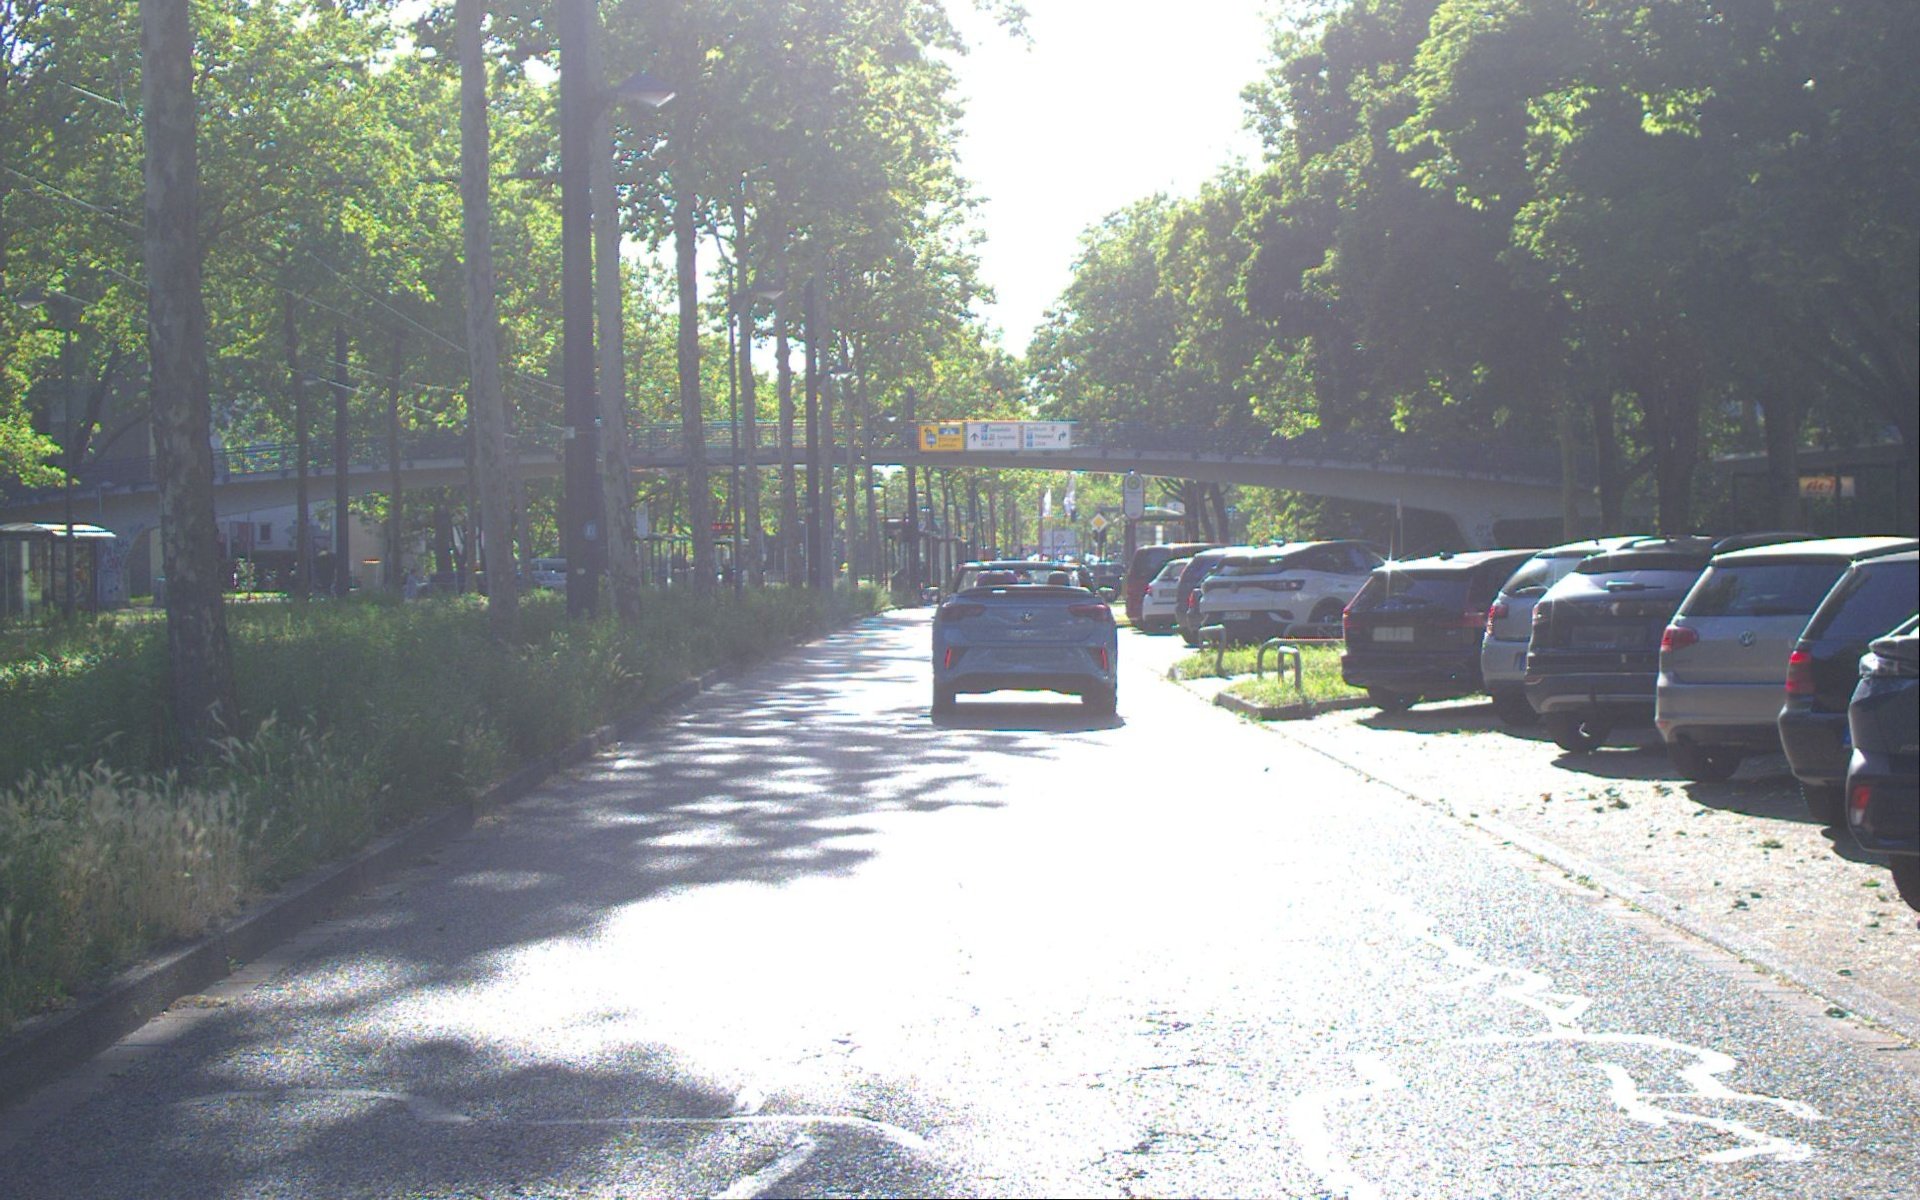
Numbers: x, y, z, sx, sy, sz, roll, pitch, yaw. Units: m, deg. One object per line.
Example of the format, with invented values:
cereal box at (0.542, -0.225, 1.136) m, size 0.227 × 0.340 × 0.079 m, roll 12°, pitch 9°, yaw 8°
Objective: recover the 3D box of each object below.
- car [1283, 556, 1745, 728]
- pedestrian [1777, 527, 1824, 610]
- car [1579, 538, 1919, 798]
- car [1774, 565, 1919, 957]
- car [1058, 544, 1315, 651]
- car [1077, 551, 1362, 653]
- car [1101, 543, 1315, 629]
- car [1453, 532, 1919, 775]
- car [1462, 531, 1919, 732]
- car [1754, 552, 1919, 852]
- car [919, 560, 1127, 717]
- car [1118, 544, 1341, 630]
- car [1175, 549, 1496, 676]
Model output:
car at (5.245, 0.342, 32.113) m, size 1.978 × 1.454 × 4.613 m, roll 0°, pitch 1°, yaw 44°
pedestrian at (20.536, -0.775, 84.004) m, size 0.819 × 2.007 × 0.750 m, roll -1°, pitch 1°, yaw -40°
car at (5.984, 0.351, 21.449) m, size 4.450 × 1.445 × 1.919 m, roll -2°, pitch 0°, yaw -45°
car at (5.296, 0.525, 13.824) m, size 4.318 × 1.420 × 1.855 m, roll -3°, pitch 1°, yaw -44°
car at (3.873, -0.065, 58.274) m, size 1.855 × 1.675 × 4.599 m, roll -2°, pitch -1°, yaw 42°
car at (4.159, 0.011, 54.627) m, size 4.612 × 1.516 × 1.856 m, roll -1°, pitch 1°, yaw -43°
car at (5.281, -0.306, 72.891) m, size 4.611 × 1.762 × 1.856 m, roll 0°, pitch 1°, yaw -43°
car at (5.814, 0.325, 25.459) m, size 1.855 × 1.564 × 4.612 m, roll -1°, pitch 1°, yaw 45°
car at (6.459, 0.212, 29.284) m, size 4.612 × 1.564 × 1.856 m, roll -1°, pitch 1°, yaw -44°
car at (6.286, 0.427, 18.004) m, size 4.449 × 1.445 × 1.919 m, roll -2°, pitch 0°, yaw -42°
car at (0.607, 0.336, 34.042) m, size 1.922 × 1.406 × 4.000 m, roll 0°, pitch 1°, yaw 1°
car at (5.499, -0.267, 69.740) m, size 4.611 × 1.674 × 1.856 m, roll 0°, pitch 1°, yaw -43°
car at (5.270, 0.148, 47.861) m, size 4.611 × 1.674 × 1.856 m, roll 0°, pitch 1°, yaw -43°
